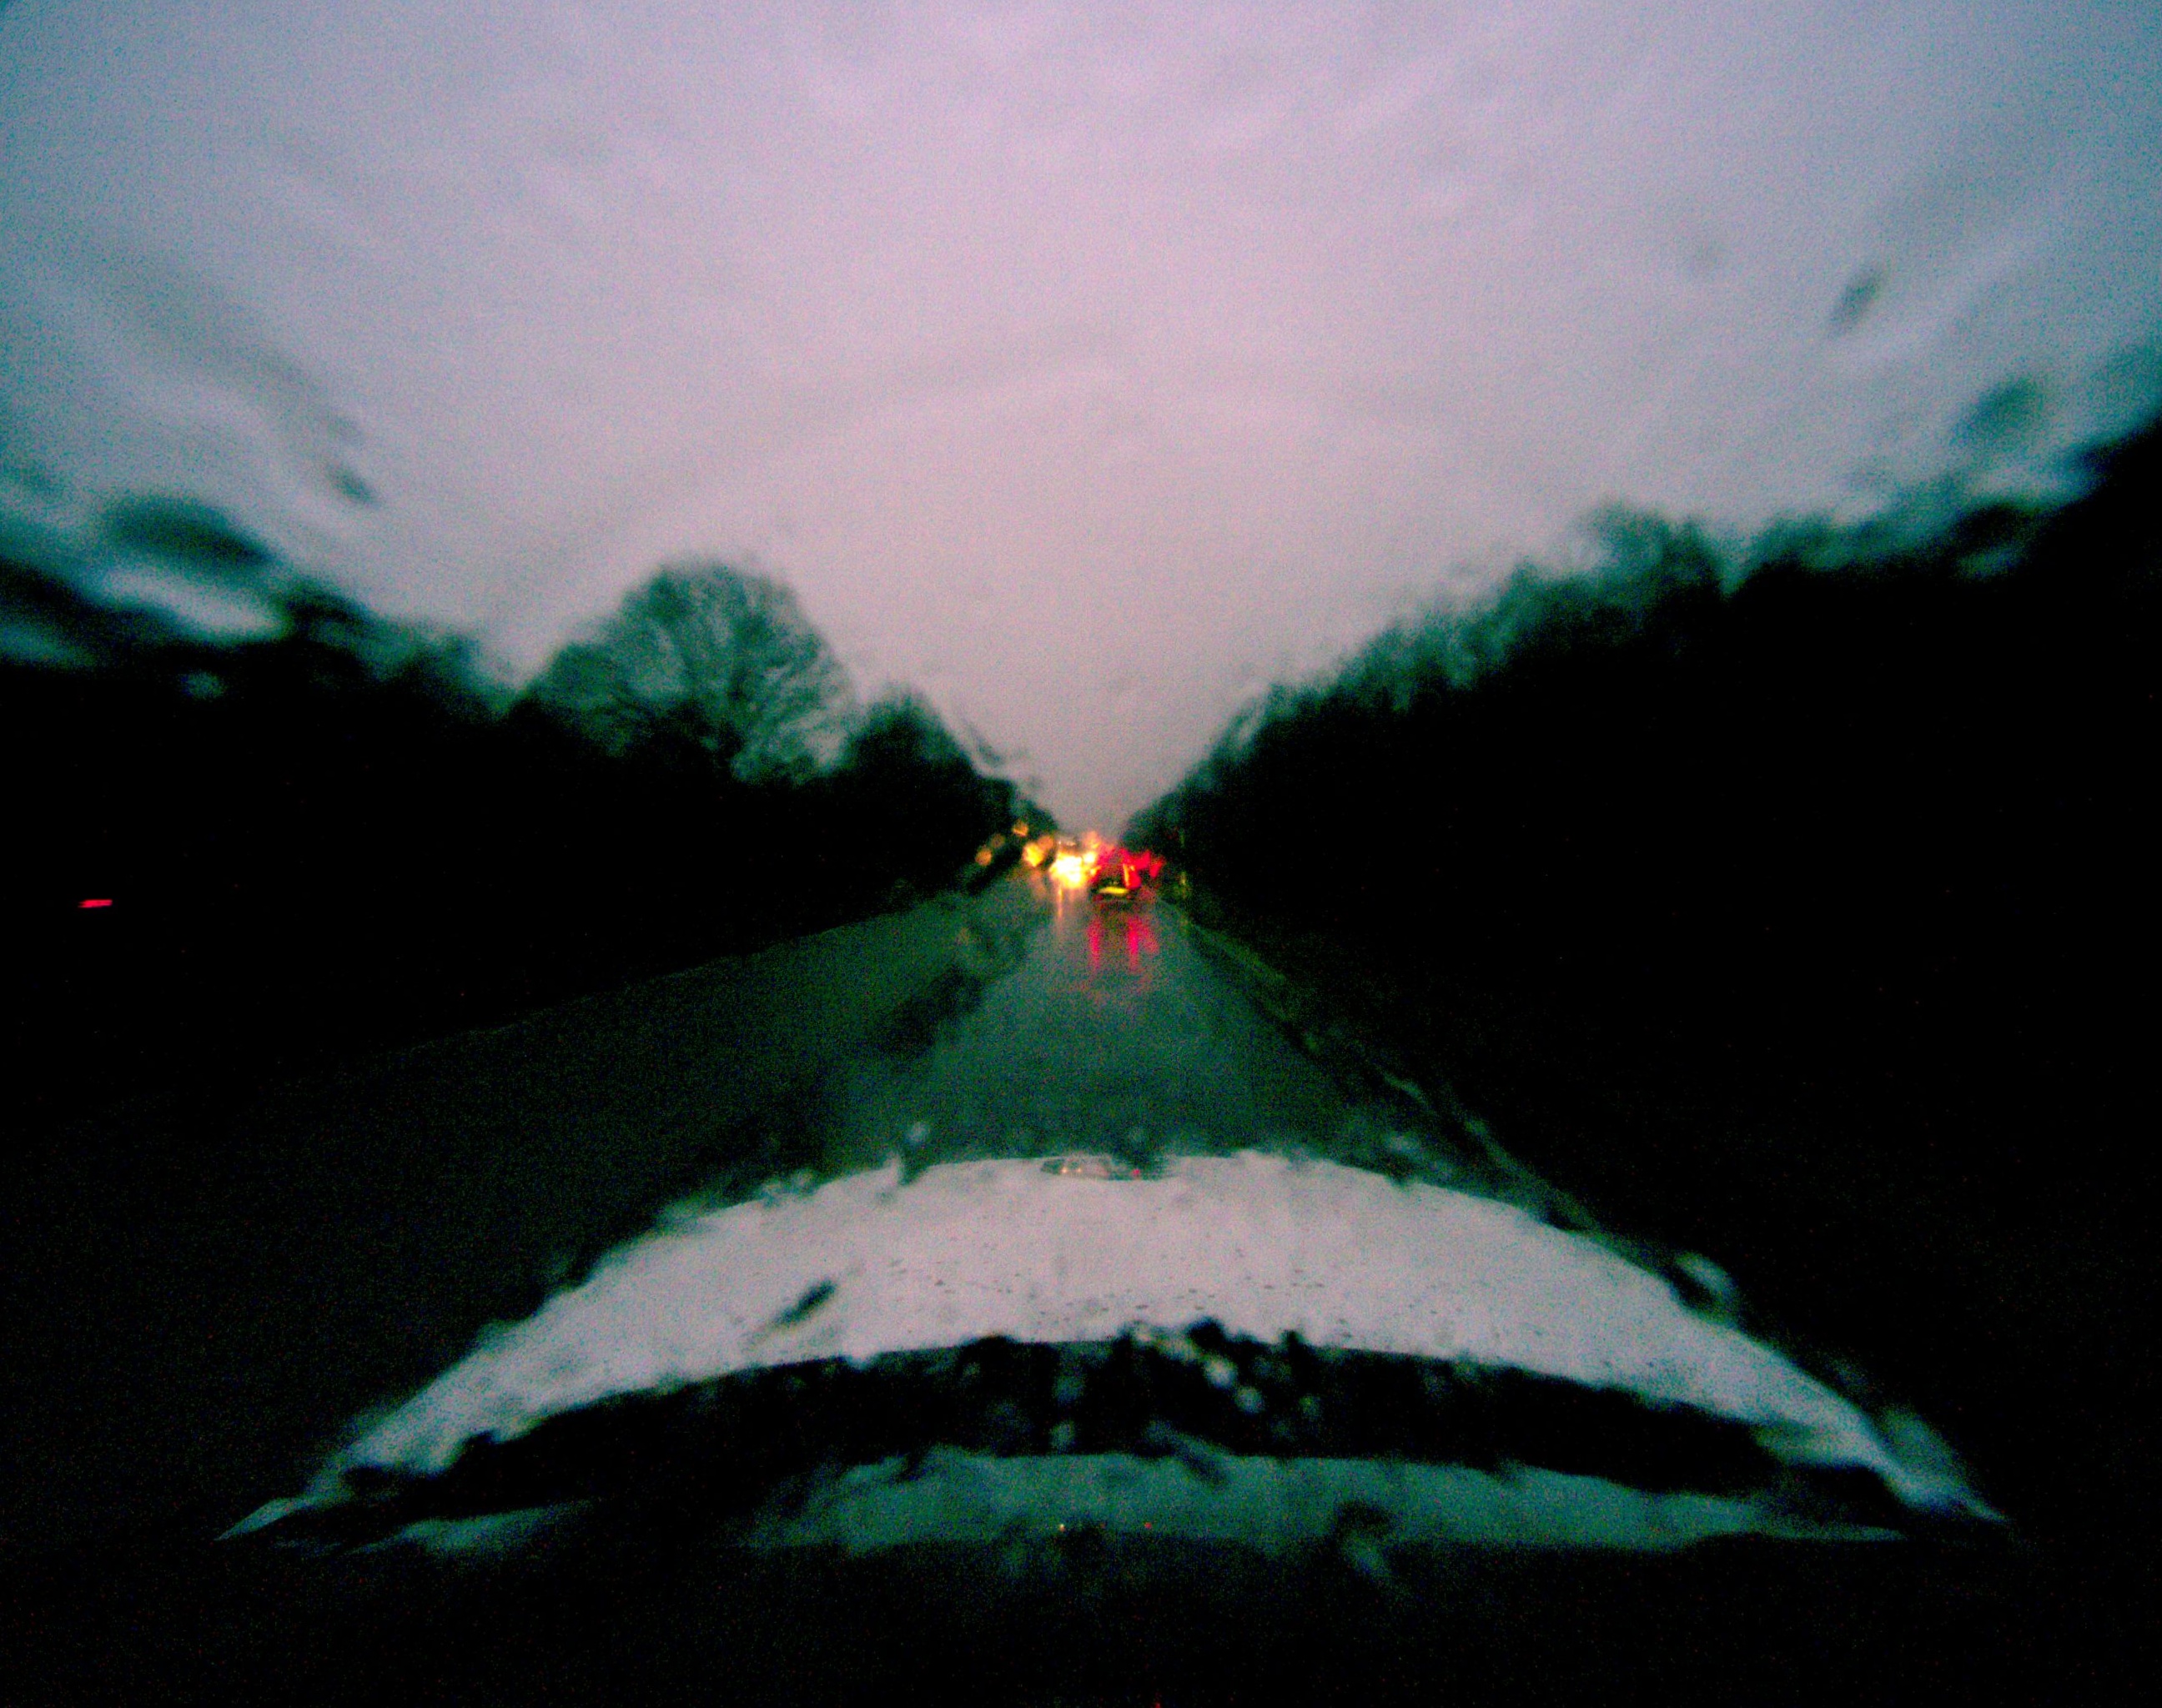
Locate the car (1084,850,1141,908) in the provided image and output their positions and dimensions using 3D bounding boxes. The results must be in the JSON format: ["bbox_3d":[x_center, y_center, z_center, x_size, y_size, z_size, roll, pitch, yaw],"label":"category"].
[{"bbox_3d":[0.984,0.738,25.714,1.642,1.672,3.515,-1,0,2],"label":"car"}]

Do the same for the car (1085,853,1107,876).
[{"bbox_3d":[1.213,0.817,65.794,1.727,1.779,4.001,-1,0,1],"label":"car"}]

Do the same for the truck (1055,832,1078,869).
[{"bbox_3d":[-1.726,-0.449,100.346,2.632,4.416,5.554,-1,0,1],"label":"truck"}]
